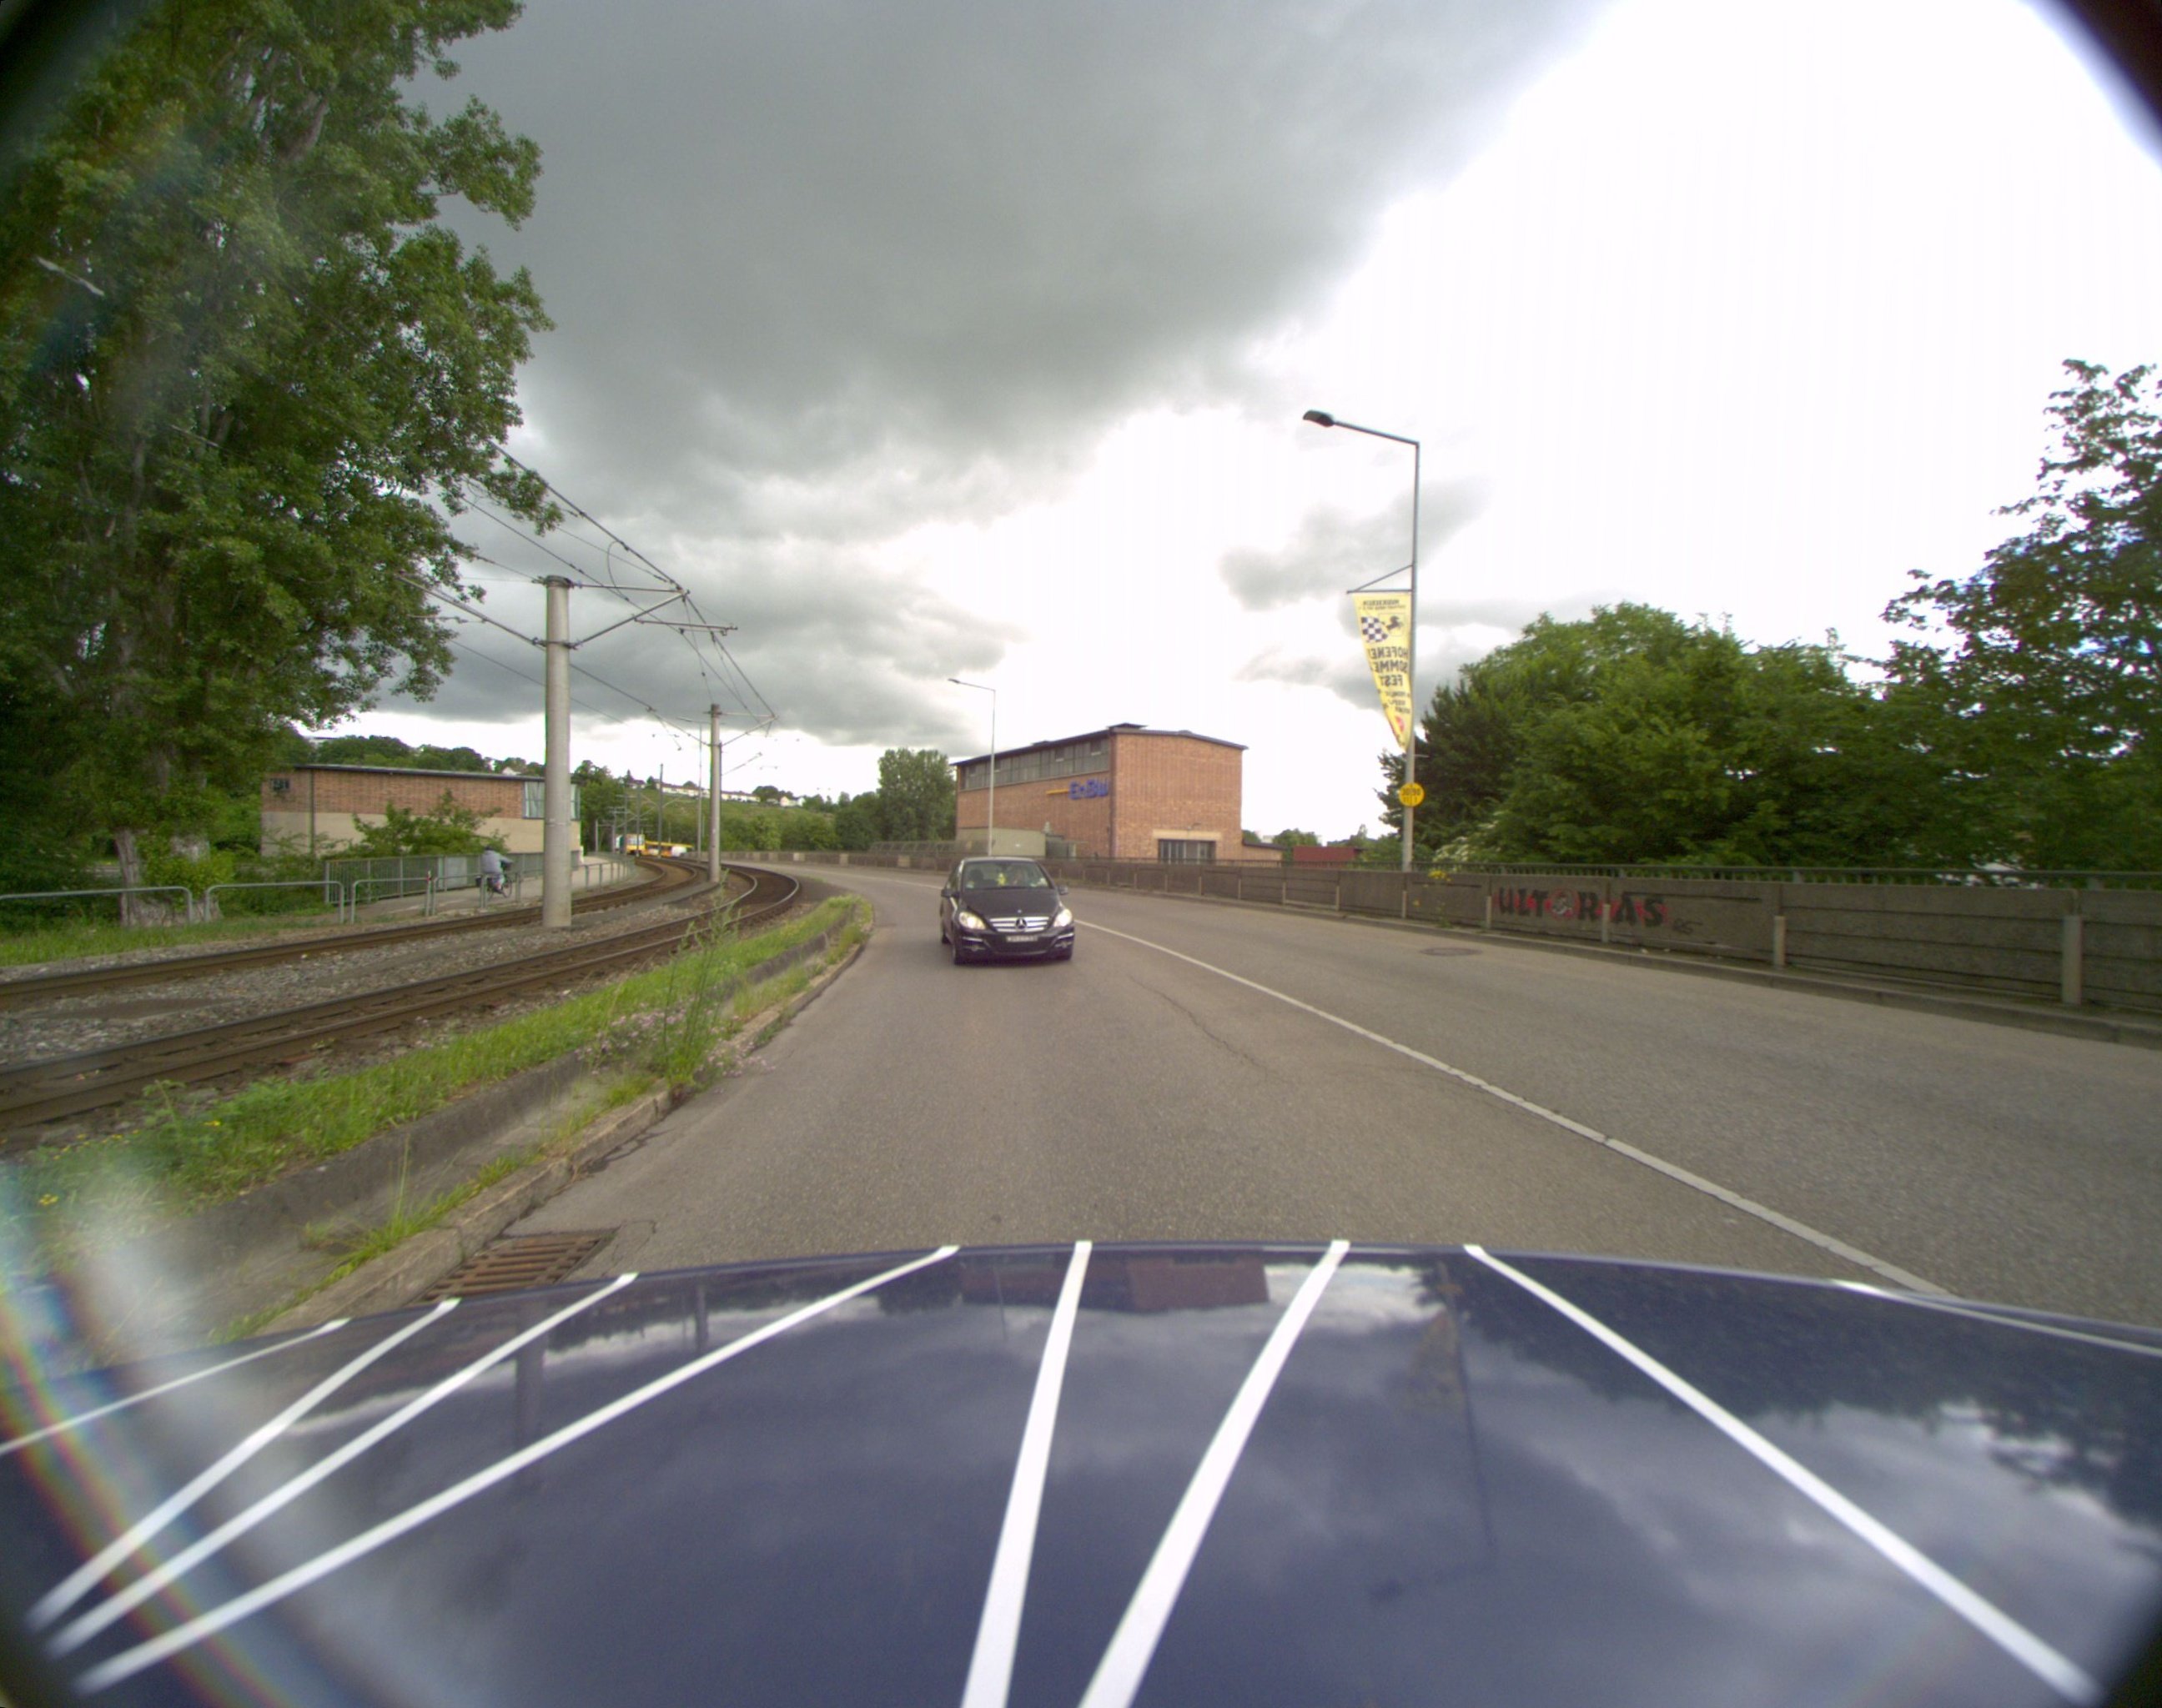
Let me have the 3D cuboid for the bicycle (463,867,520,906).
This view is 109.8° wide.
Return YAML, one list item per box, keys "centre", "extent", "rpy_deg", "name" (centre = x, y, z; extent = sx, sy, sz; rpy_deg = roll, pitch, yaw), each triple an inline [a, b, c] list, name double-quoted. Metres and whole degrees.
- centre: [-16.942, 0.911, 21.888]
  extent: [0.427, 1.044, 2.078]
  rpy_deg: [-1, 0, -13]
  name: "bicycle"

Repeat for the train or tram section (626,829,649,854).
- centre: [-73.005, -2.079, 125.048]
  extent: [3.038, 3.896, 9.417]
  rpy_deg: [0, 1, -32]
  name: "train or tram section"

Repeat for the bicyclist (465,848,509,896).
- centre: [-16.943, 0.501, 21.698]
  extent: [0.595, 1.352, 0.910]
  rpy_deg: [-1, 1, -11]
  name: "bicyclist"

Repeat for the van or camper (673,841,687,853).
- centre: [-87.239, -1.538, 165.444]
  extent: [2.160, 2.461, 4.701]
  rpy_deg: [-1, 1, -21]
  name: "van or camper"

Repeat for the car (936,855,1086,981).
- centre: [-1.311, 0.863, 12.378]
  extent: [1.863, 1.612, 3.994]
  rpy_deg: [0, 1, -14]
  name: "car"
